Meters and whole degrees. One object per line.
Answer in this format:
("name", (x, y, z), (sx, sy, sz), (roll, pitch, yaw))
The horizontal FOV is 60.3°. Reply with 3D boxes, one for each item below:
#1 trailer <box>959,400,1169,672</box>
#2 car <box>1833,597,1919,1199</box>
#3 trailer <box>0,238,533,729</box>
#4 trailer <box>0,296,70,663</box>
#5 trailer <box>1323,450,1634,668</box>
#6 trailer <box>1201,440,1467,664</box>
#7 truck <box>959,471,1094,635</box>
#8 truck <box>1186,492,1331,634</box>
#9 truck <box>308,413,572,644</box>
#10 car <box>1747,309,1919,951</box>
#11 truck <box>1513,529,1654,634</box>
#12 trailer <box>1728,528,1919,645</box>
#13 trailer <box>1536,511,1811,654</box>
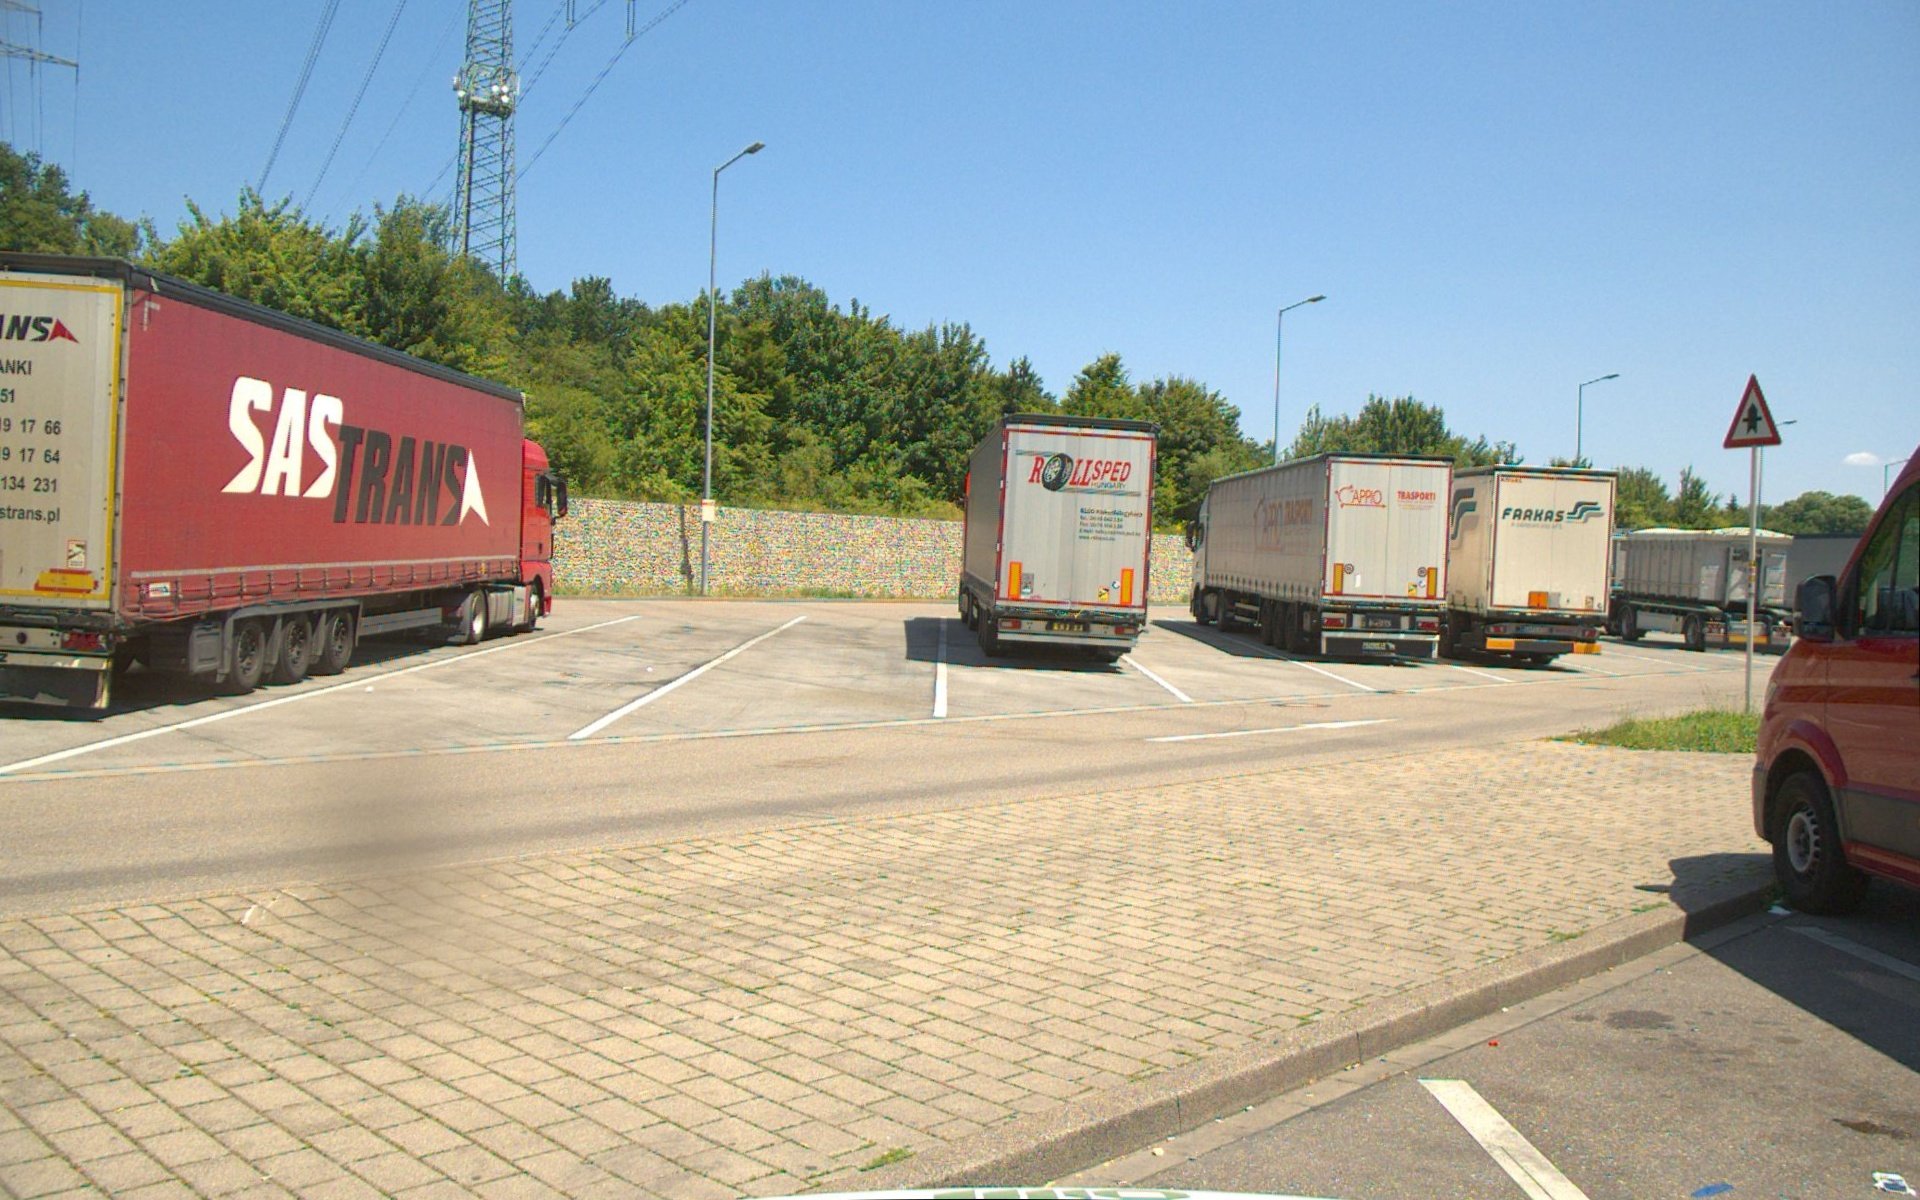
("trailer", (1.659, -1.229, 33.243), (2.848, 4.204, 13.720), (2, 2, -1))
("car", (2.607, 0.797, 1.159), (1.703, 1.508, 3.813), (1, 1, -6))
("trailer", (-8.670, -1.295, 21.191), (2.848, 4.203, 13.723), (2, 2, -1))
("trailer", (-12.515, -1.306, 15.708), (2.673, 4.282, 10.170), (2, 2, -1))
("trailer", (11.780, -1.016, 39.636), (2.781, 4.204, 13.722), (2, 2, -1))
("trailer", (8.220, -1.137, 38.832), (2.781, 4.204, 13.722), (2, 2, -1))
("truck", (1.492, -1.141, 39.852), (2.794, 3.544, 5.482), (2, 2, -1))
("truck", (8.106, -1.036, 45.641), (2.794, 3.544, 5.482), (2, 2, -1))
("truck", (-8.783, -1.203, 28.626), (2.794, 3.487, 5.482), (2, 2, -1))
("car", (5.019, 0.163, 5.564), (2.023, 2.742, 6.397), (1, 1, 4))
("truck", (22.019, -0.713, 58.715), (2.794, 3.423, 5.484), (3, 2, 0))
("trailer", (34.951, -0.643, 65.414), (2.780, 4.119, 13.726), (2, 2, 1))
("trailer", (21.938, -0.684, 52.211), (2.780, 3.781, 13.726), (3, 2, 1))
